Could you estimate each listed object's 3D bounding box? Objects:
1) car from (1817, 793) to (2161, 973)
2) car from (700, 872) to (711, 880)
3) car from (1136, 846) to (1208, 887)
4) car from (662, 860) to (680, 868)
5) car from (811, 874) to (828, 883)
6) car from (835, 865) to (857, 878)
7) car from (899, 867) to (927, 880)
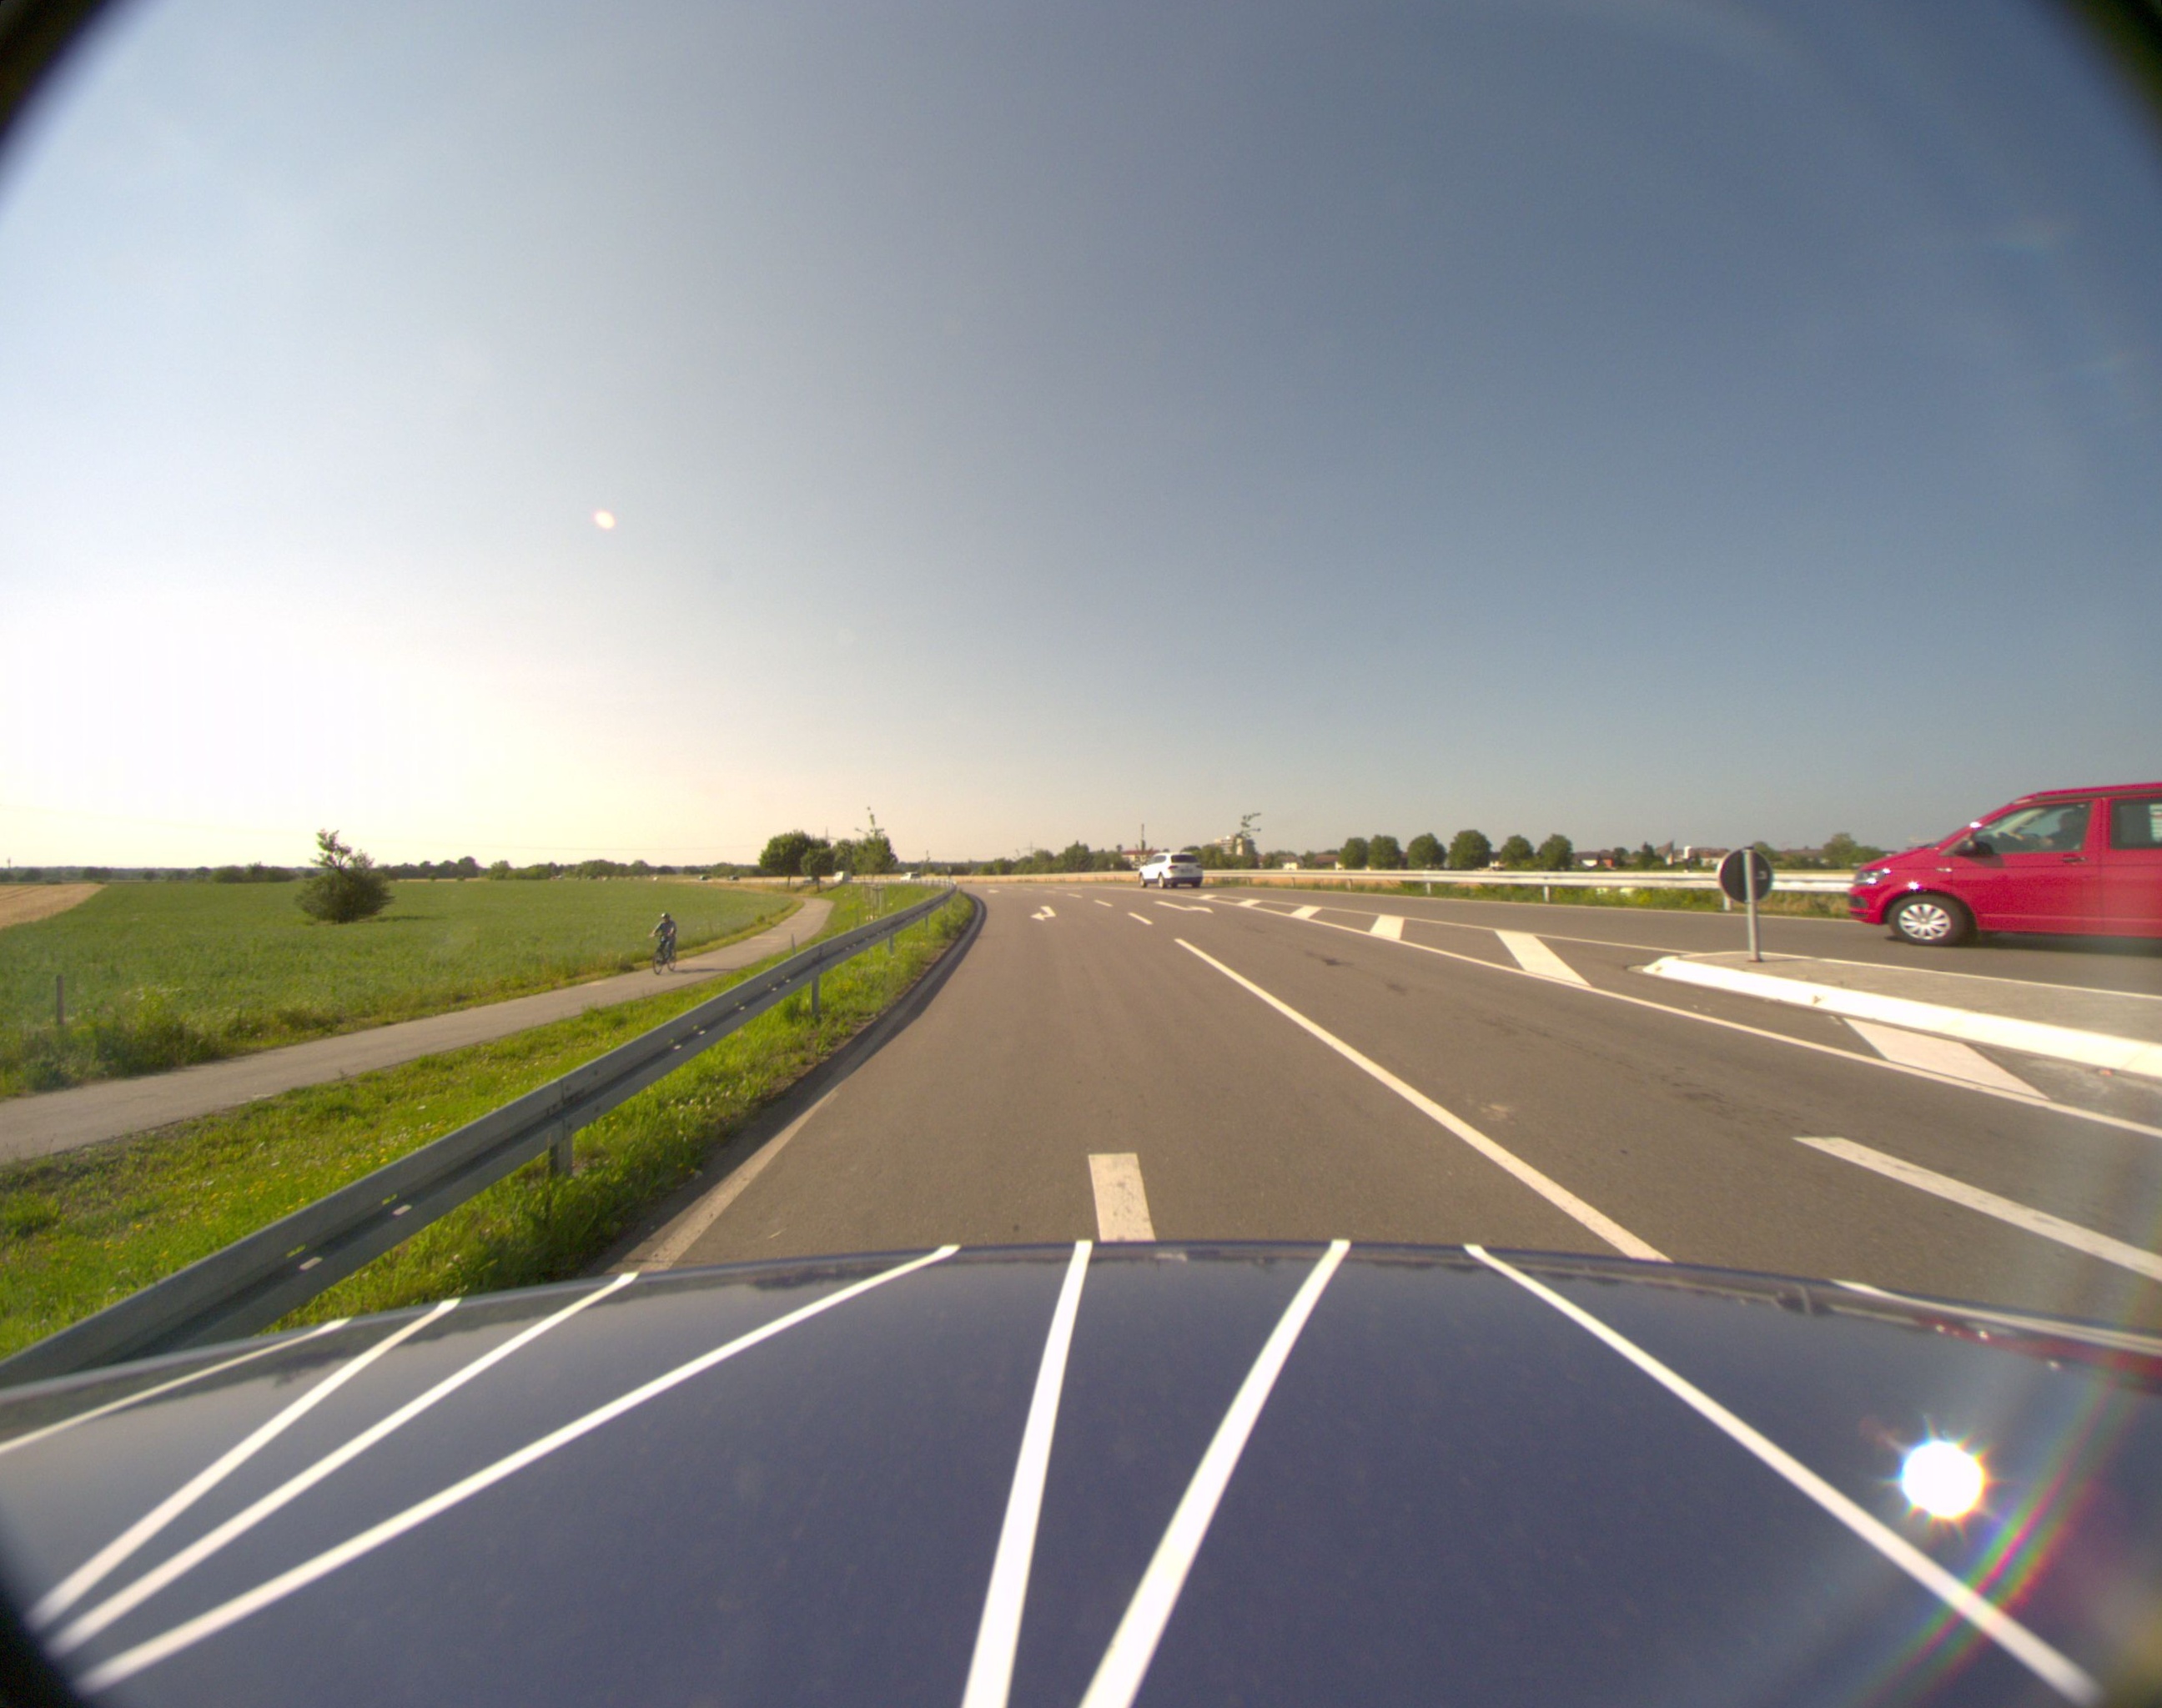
[{"bbox_3d":[12.233,0.309,8.844,1.842,1.928,4.915,-1,-1,-29],"label":"car"},{"bbox_3d":[-97.080,5.604,196.474,1.891,1.788,5.078,-3,2,-35],"label":"car"},{"bbox_3d":[4.154,0.641,35.592,1.698,1.663,4.859,-1,-3,-14],"label":"car"},{"bbox_3d":[-107.461,2.614,199.066,2.822,2.002,6.086,-3,1,-41],"label":"car"},{"bbox_3d":[-48.473,4.572,140.797,1.803,1.439,4.696,-2,-3,-34],"label":"car"},{"bbox_3d":[-40.482,3.058,130.589,2.125,2.001,5.143,-2,-3,-34],"label":"car"},{"bbox_3d":[-22.959,2.653,103.763,2.125,1.483,5.143,-2,-3,-32],"label":"car"}]
